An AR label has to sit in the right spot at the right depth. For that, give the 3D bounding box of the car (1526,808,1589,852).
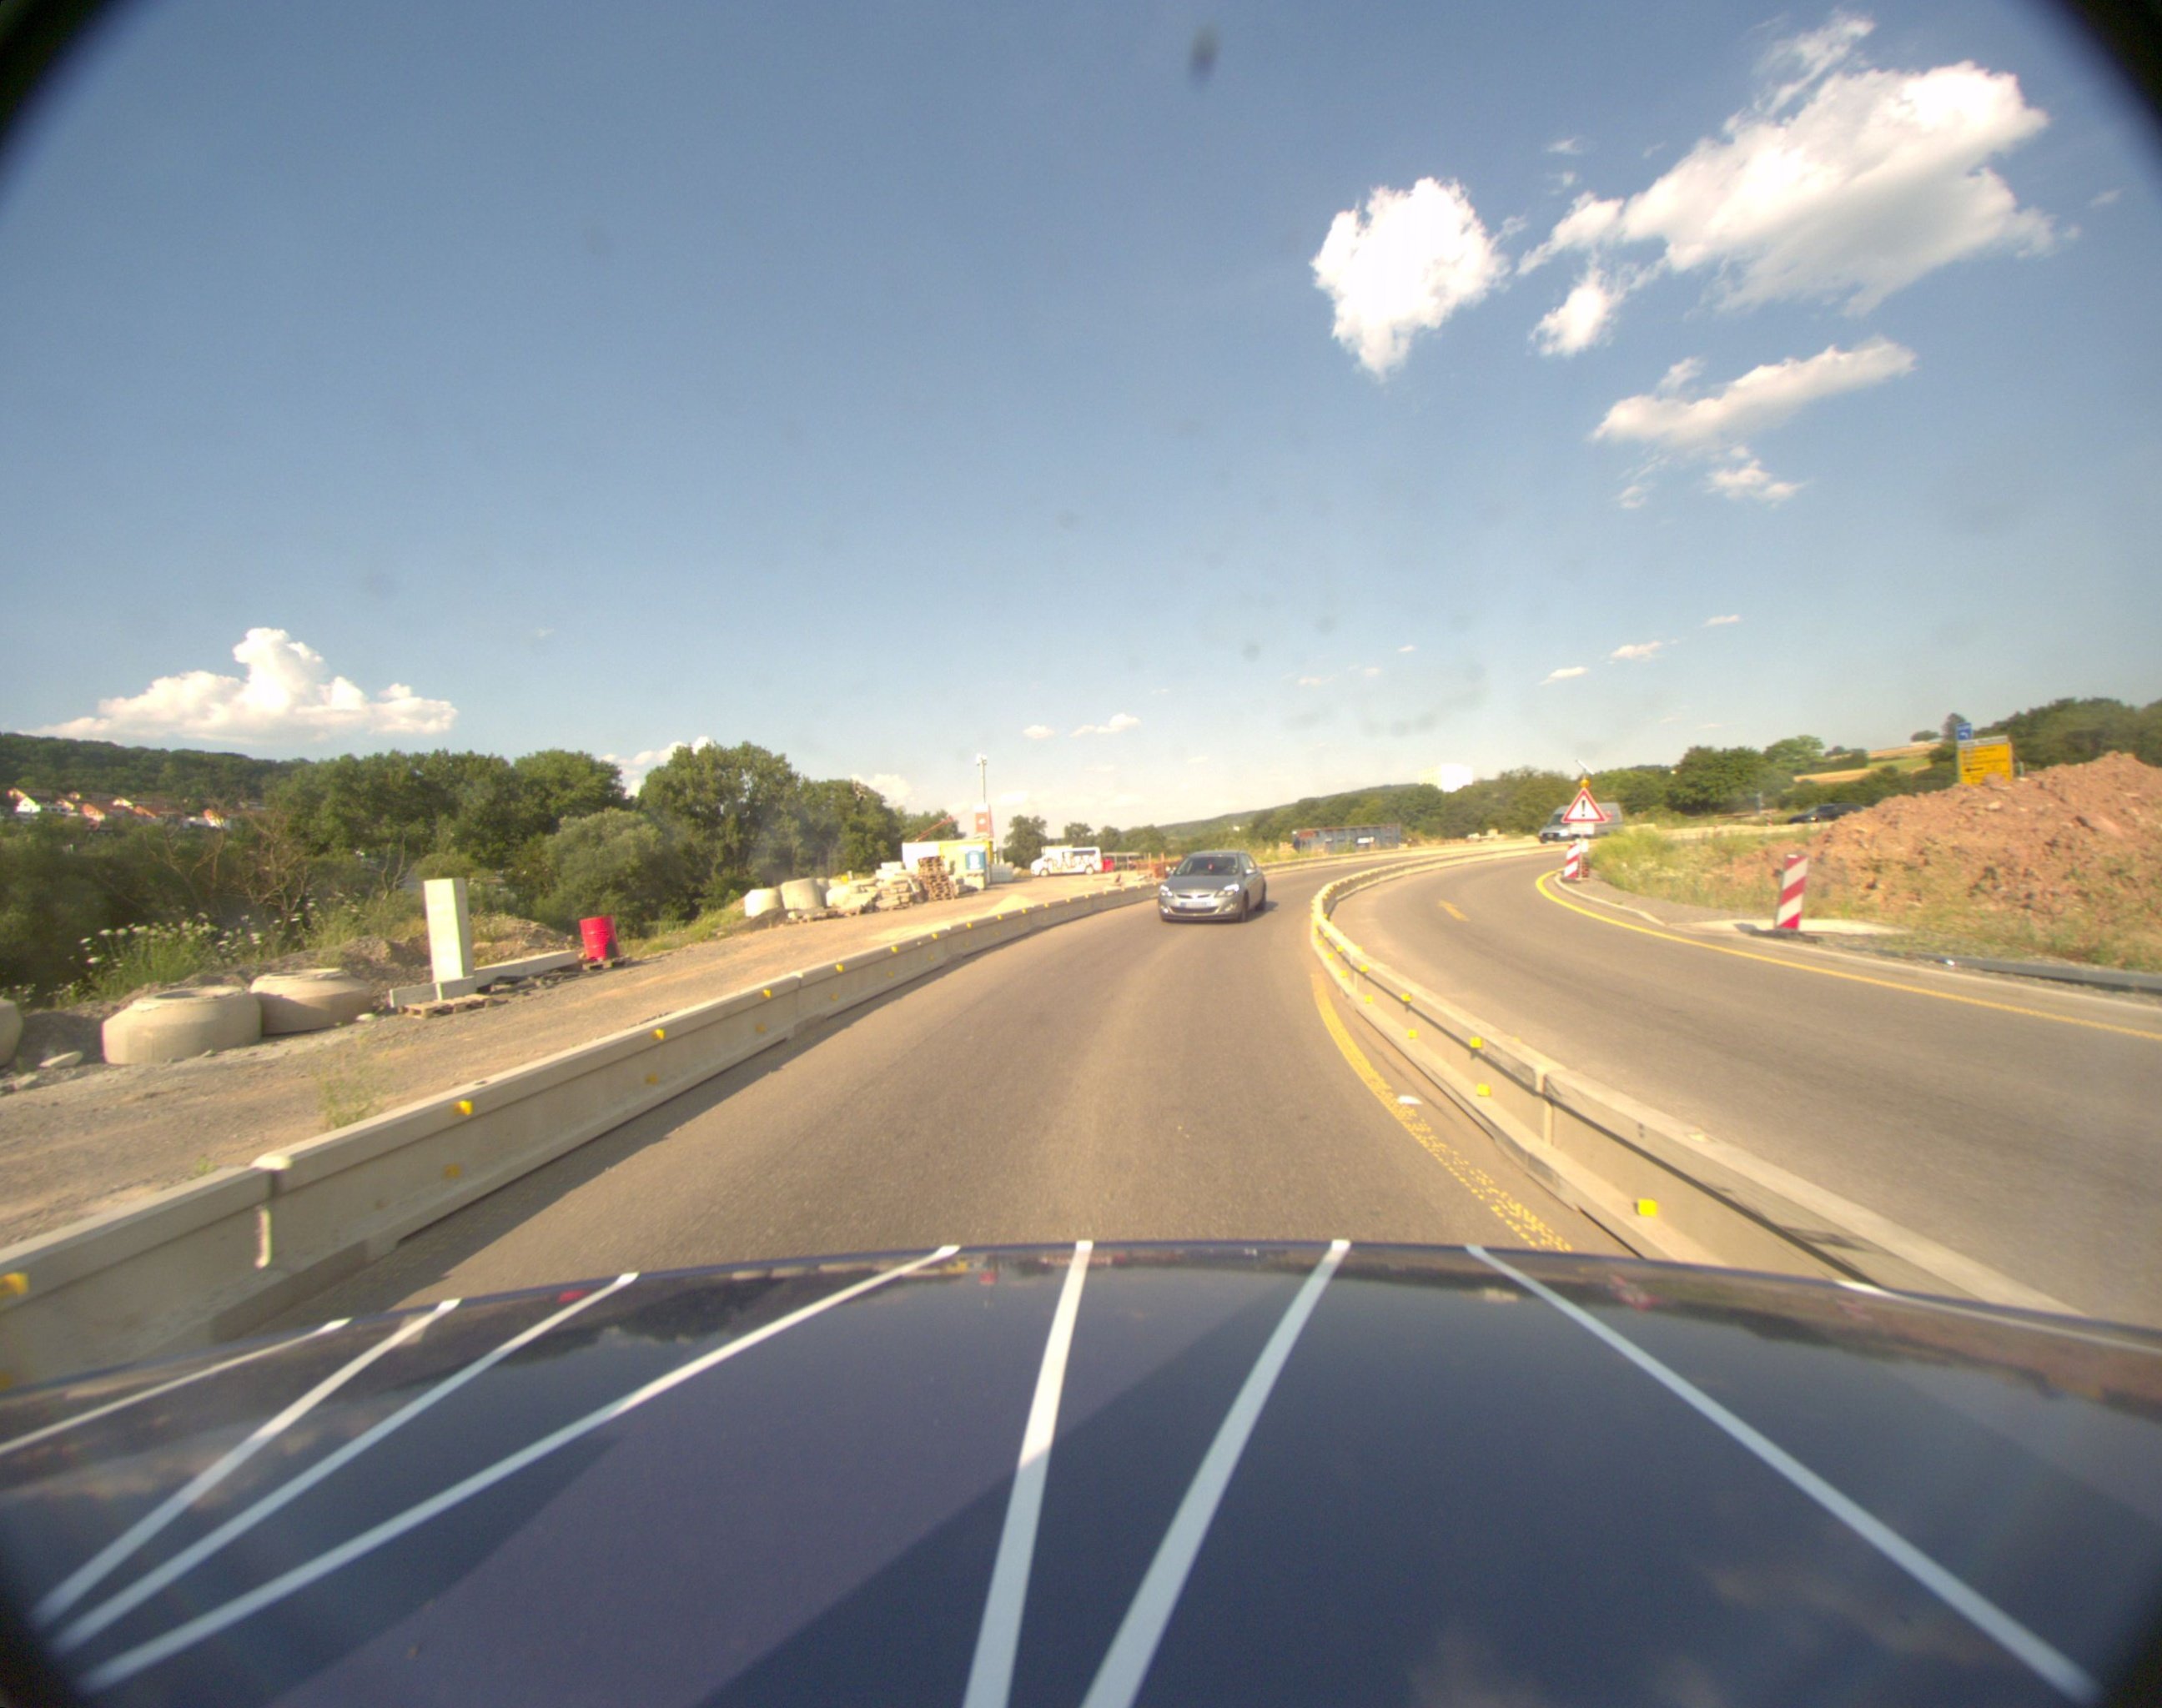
[{"bbox_3d":[30.158,-1.553,48.045,5.807,2.487,1.912,-5,1,-44],"label":"car"}]

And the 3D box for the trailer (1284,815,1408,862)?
[{"bbox_3d":[16.775,-1.005,48.068,7.236,2.400,3.008,-4,0,-25],"label":"trailer"}]

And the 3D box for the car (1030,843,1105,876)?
[{"bbox_3d":[-1.057,0.381,56.816,5.317,2.067,2.486,-4,1,-4],"label":"car"}]

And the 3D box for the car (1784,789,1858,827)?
[{"bbox_3d":[52.569,-3.228,54.001,4.001,2.390,1.874,-4,1,-14],"label":"car"}]

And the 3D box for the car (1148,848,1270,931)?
[{"bbox_3d":[2.959,0.699,16.785,1.745,1.476,4.257,-3,1,21],"label":"car"}]
